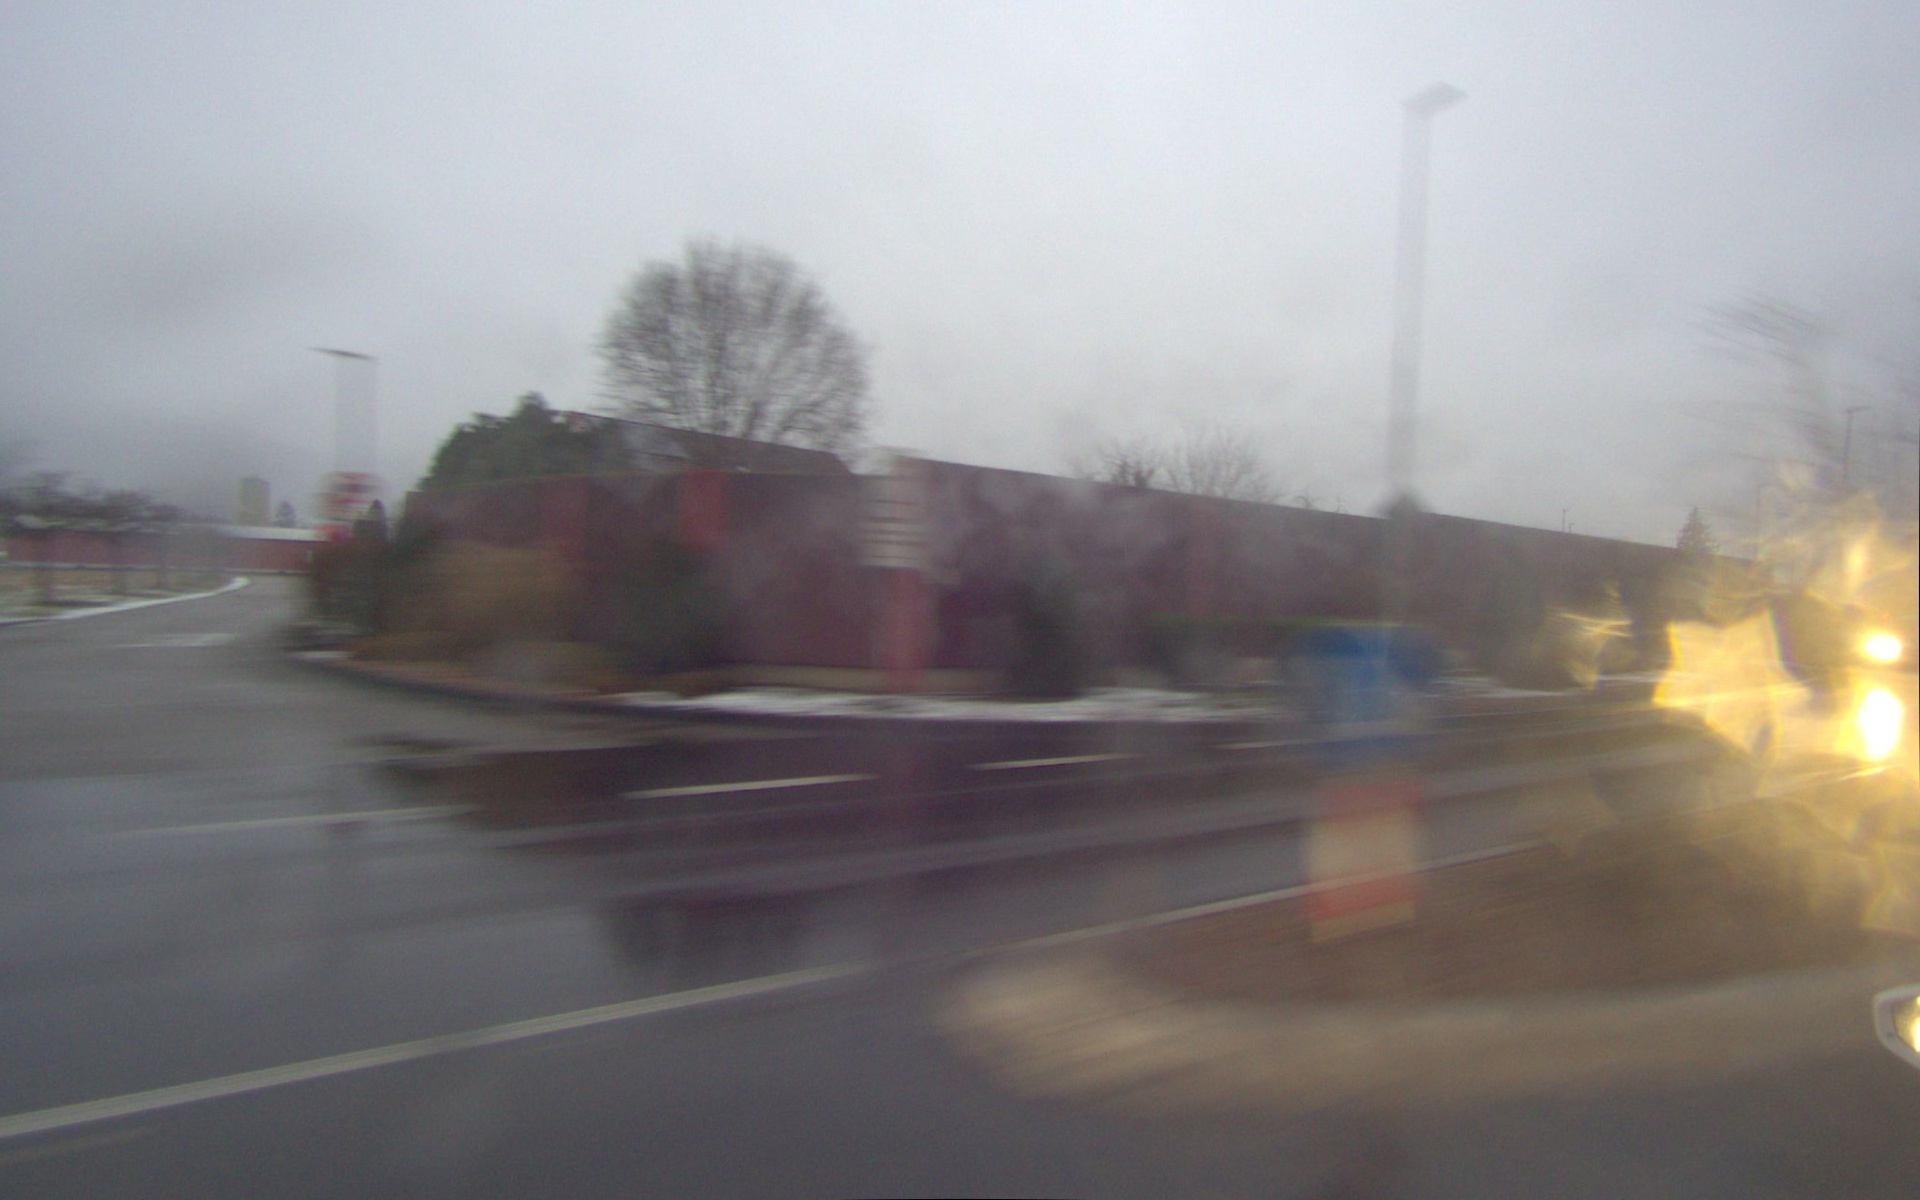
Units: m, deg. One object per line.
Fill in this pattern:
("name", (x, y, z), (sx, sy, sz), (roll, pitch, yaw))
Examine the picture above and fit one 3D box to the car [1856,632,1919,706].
("car", (22.735, 1.611, 23.673), (3.849, 1.599, 1.681), (2, 0, -37))
